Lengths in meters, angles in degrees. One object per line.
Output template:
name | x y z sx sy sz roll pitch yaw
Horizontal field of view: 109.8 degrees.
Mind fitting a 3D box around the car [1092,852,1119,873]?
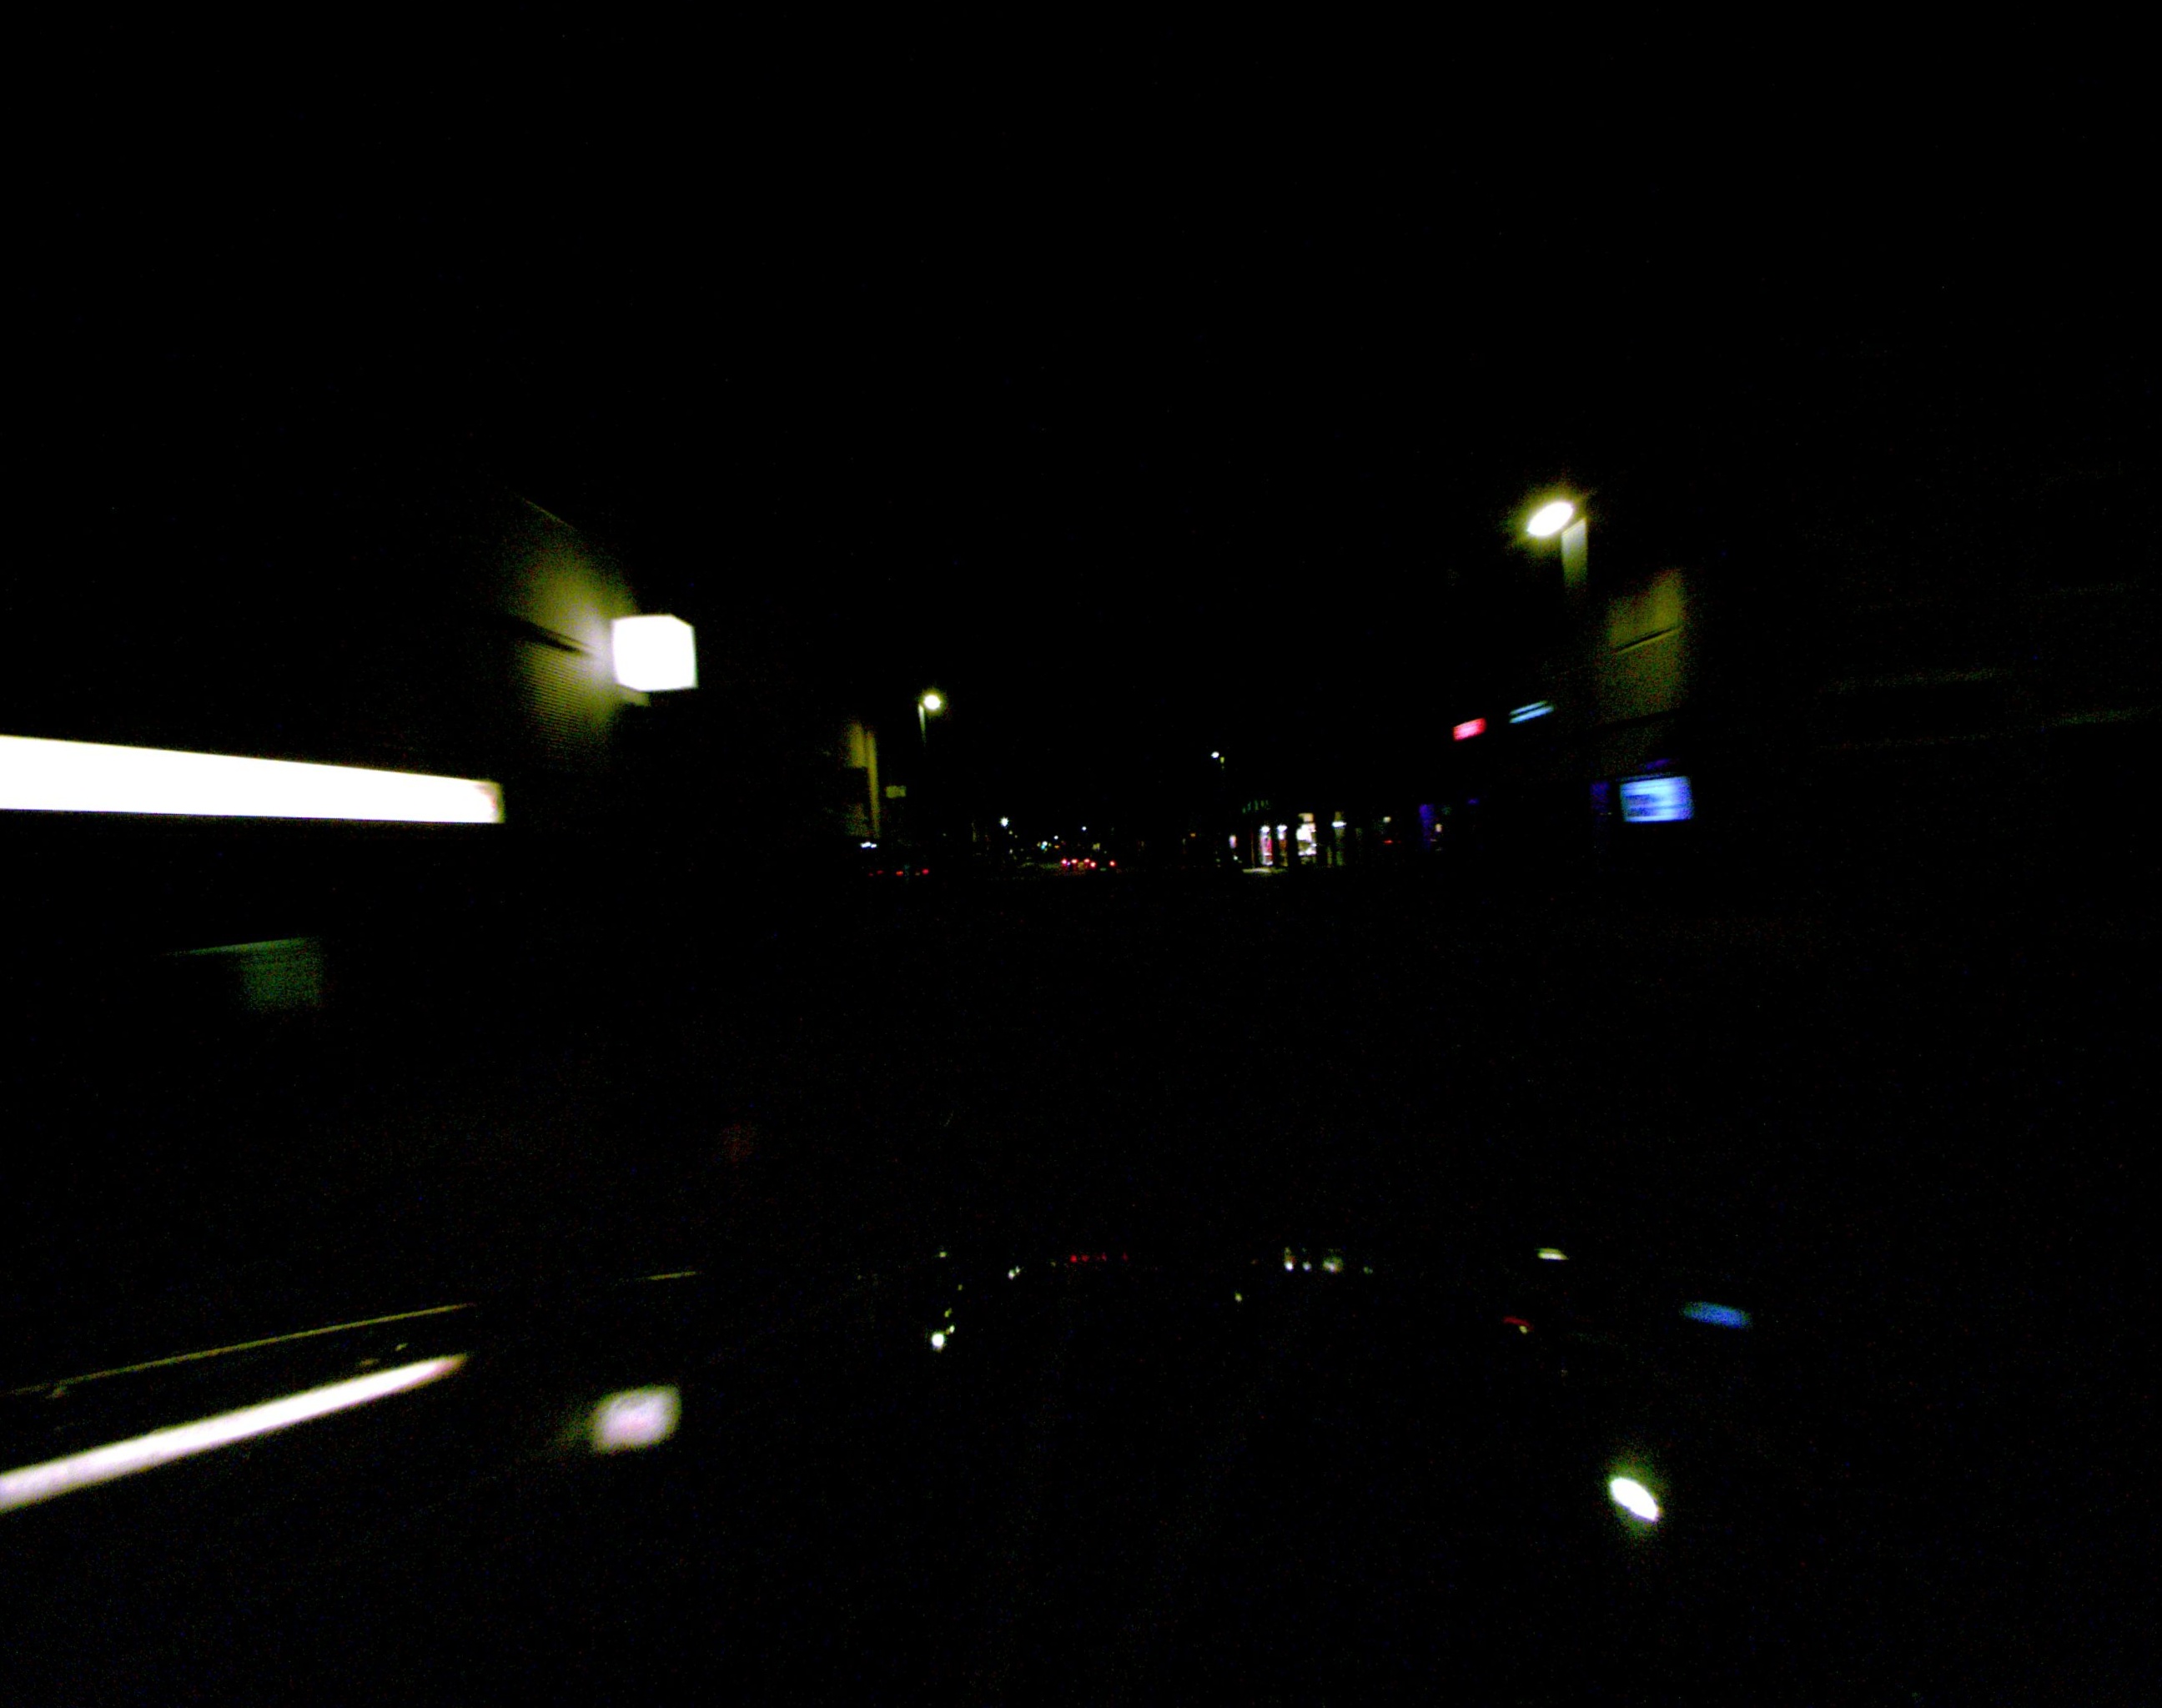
car | 1.723 0.571 54.351 1.721 1.420 3.815 -2 0 -1

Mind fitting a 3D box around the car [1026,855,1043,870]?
car | -4.814 0.856 78.744 1.607 1.474 3.698 -2 0 -4

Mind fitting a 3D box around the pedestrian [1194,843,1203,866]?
pedestrian | 8.431 0.036 54.372 0.529 1.579 0.666 -3 1 5

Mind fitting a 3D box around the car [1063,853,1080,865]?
car | -1.156 0.588 89.383 1.822 1.271 3.915 -2 0 -2

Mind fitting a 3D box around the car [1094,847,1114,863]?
car | 2.571 0.079 84.976 1.814 1.637 3.802 -4 0 -2

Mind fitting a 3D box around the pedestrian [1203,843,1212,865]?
pedestrian | 9.038 0.003 54.252 0.529 1.579 0.666 -3 1 8

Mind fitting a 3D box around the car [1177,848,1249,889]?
car | 5.271 0.530 30.956 1.901 1.411 4.930 -4 0 -1

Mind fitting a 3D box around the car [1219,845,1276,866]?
car | 12.163 0.093 55.641 3.833 1.408 1.652 -2 0 0

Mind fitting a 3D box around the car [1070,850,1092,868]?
car | 0.012 0.497 73.311 1.753 1.635 4.306 -2 0 -4

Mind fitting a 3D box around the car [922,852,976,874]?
car | -10.219 0.722 59.130 3.917 1.578 1.644 2 0 -5
